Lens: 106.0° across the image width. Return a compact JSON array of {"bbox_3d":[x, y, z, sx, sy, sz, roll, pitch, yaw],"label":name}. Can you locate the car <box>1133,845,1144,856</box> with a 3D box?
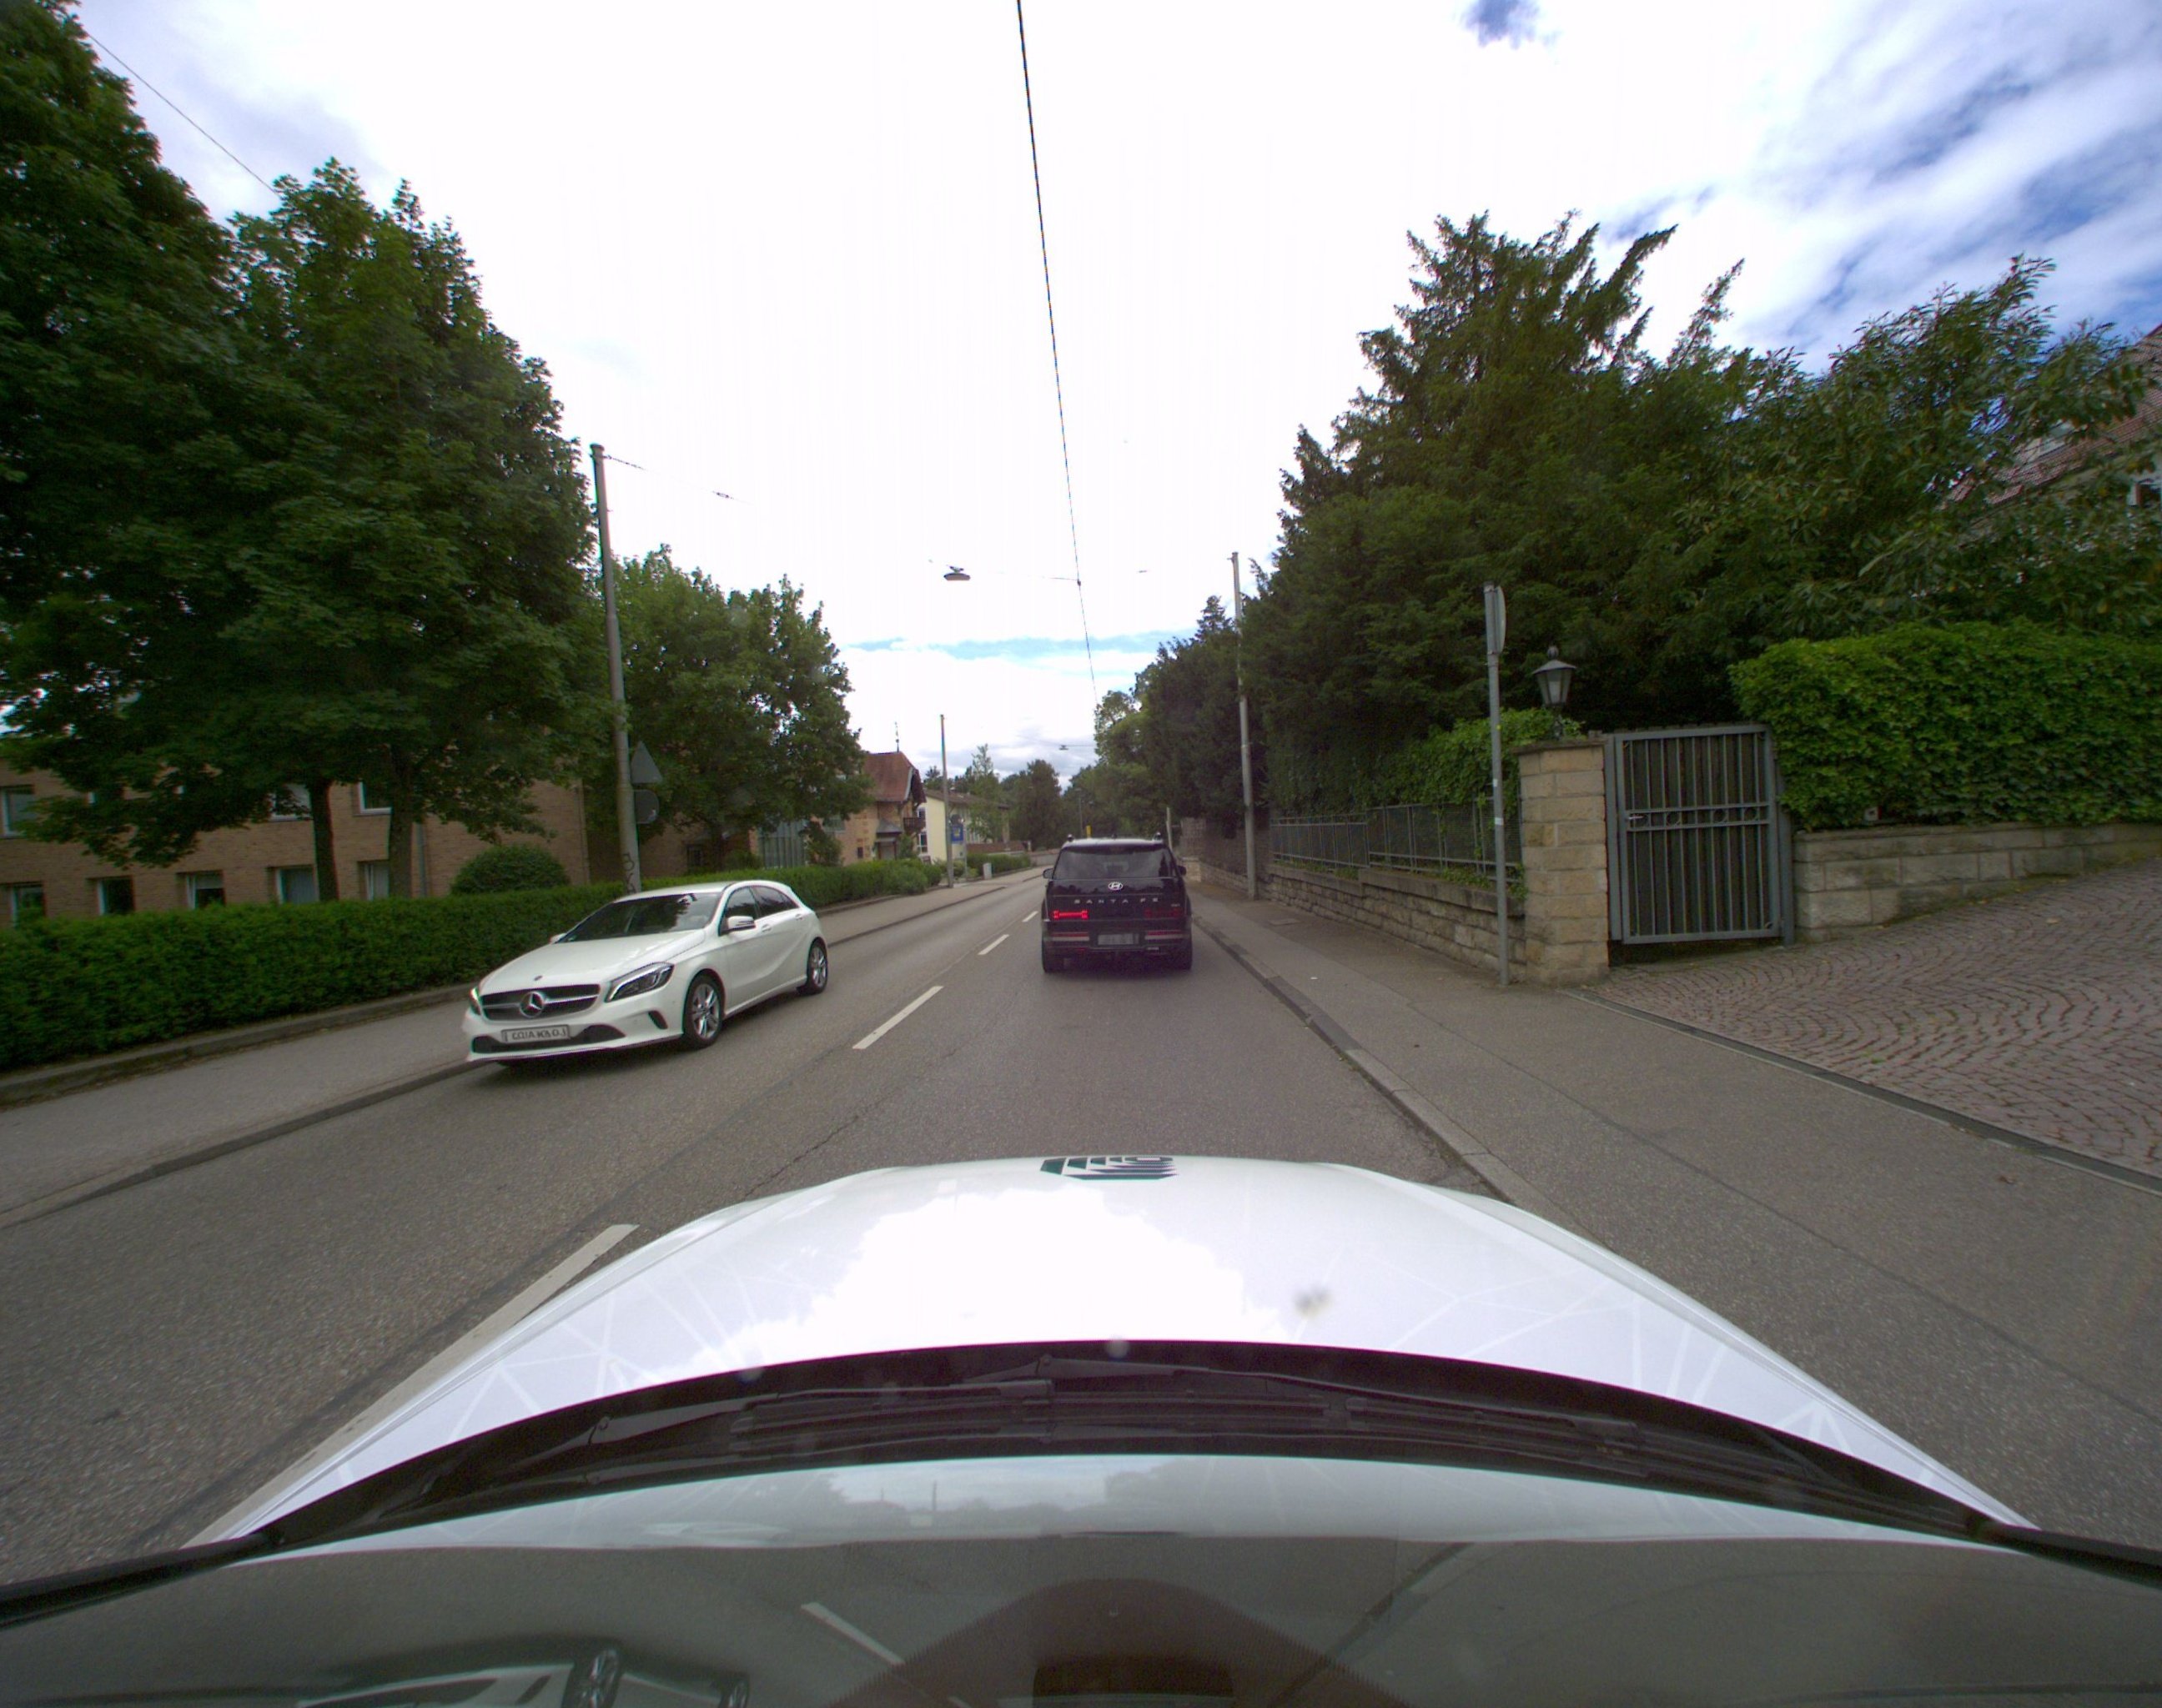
[{"bbox_3d":[9.288,-0.548,131.527,1.637,1.561,3.655,-3,-2,5],"label":"car"}]

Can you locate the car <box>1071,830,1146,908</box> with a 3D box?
[{"bbox_3d":[0.734,0.325,23.281,1.951,1.955,4.224,0,3,0],"label":"car"}]

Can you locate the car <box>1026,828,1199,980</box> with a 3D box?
[{"bbox_3d":[0.452,0.556,11.422,1.949,1.713,4.226,-1,0,2],"label":"car"}]

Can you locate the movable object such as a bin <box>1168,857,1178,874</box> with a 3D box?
[{"bbox_3d":[5.024,0.619,44.300,0.442,0.910,0.395,-4,0,11],"label":"movable object such as a bin"}]

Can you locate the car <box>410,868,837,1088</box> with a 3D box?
[{"bbox_3d":[-4.059,0.974,8.166,1.760,1.421,4.067,-5,0,2],"label":"car"}]
